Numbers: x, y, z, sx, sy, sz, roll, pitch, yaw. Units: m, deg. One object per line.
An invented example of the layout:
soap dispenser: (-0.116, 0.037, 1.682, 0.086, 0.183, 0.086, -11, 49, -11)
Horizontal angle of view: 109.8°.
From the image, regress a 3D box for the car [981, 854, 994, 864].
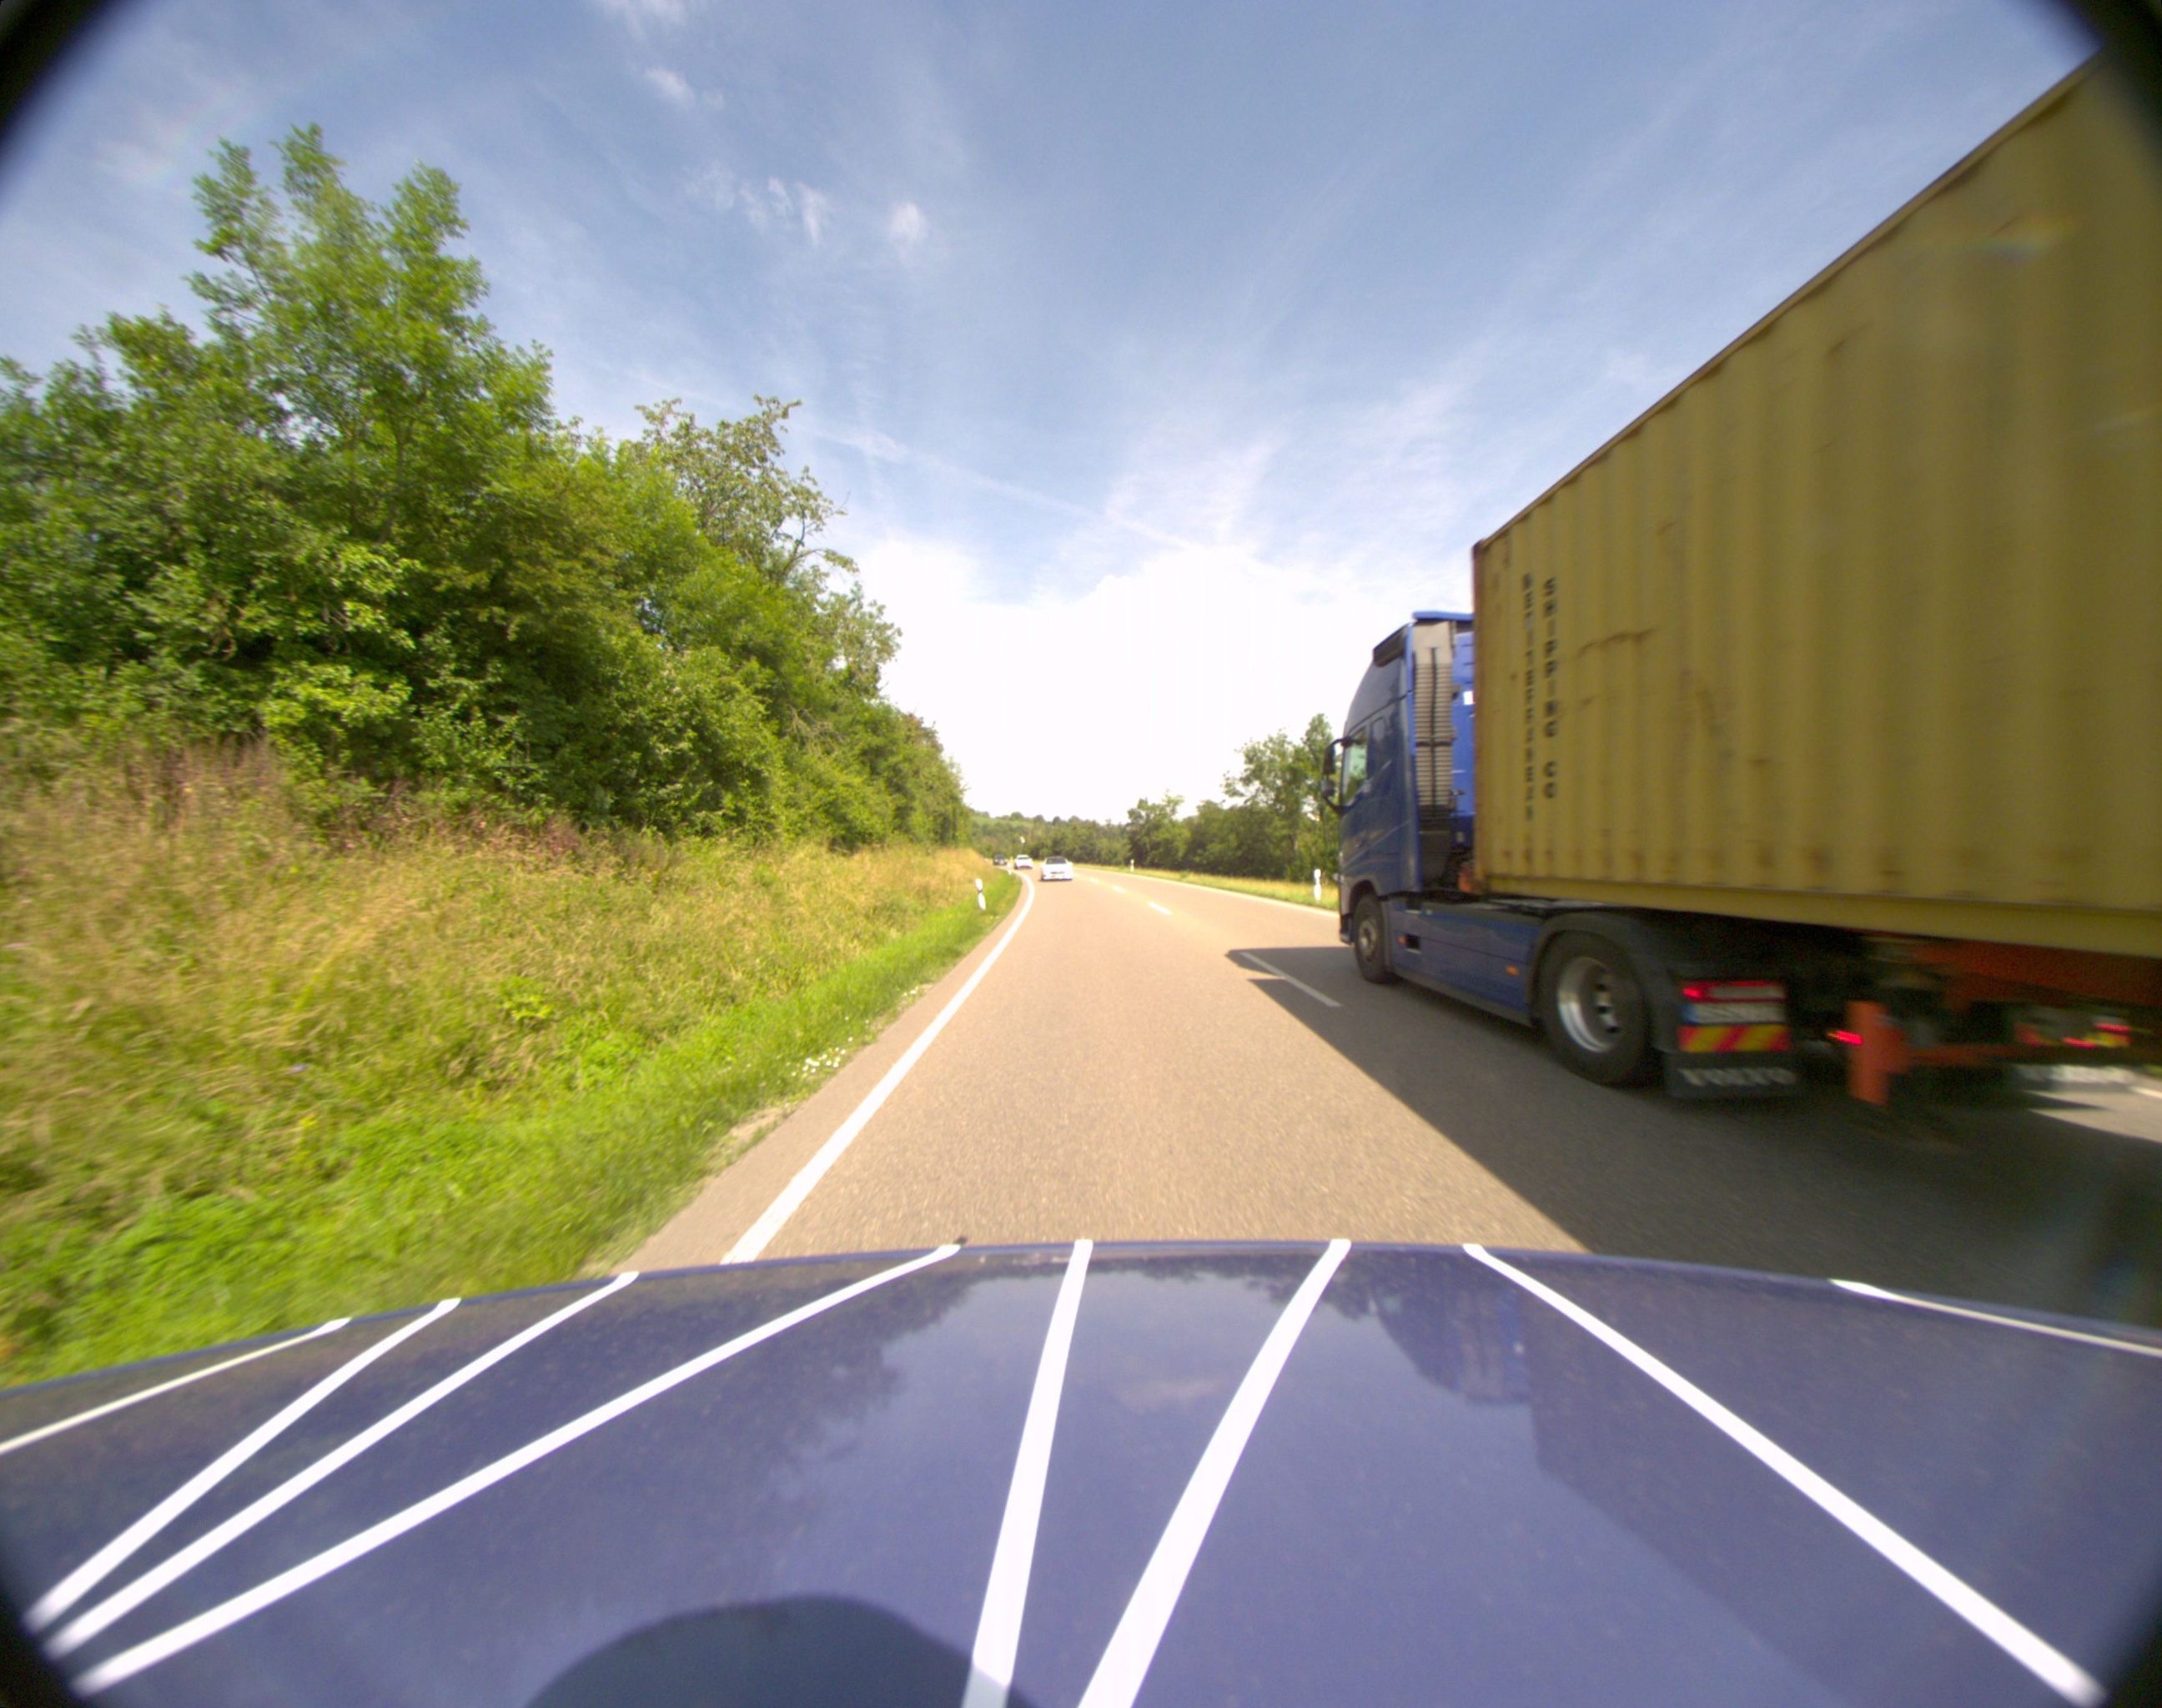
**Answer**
car: (-16.421, 0.888, 133.725, 1.668, 1.641, 3.994, -1, 0, -15)

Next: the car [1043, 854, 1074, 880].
car: (-1.448, 0.798, 47.400, 1.773, 1.437, 3.998, -2, 1, -3)

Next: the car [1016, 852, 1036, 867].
car: (-6.064, 0.575, 84.043, 1.867, 1.480, 3.996, -3, 1, -8)

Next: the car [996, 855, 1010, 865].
car: (-11.342, 0.859, 110.362, 1.826, 1.510, 3.996, -1, 0, -10)

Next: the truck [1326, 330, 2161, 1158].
truck: (4.535, -0.529, 6.730, 2.813, 4.043, 5.985, -1, 0, 0)
